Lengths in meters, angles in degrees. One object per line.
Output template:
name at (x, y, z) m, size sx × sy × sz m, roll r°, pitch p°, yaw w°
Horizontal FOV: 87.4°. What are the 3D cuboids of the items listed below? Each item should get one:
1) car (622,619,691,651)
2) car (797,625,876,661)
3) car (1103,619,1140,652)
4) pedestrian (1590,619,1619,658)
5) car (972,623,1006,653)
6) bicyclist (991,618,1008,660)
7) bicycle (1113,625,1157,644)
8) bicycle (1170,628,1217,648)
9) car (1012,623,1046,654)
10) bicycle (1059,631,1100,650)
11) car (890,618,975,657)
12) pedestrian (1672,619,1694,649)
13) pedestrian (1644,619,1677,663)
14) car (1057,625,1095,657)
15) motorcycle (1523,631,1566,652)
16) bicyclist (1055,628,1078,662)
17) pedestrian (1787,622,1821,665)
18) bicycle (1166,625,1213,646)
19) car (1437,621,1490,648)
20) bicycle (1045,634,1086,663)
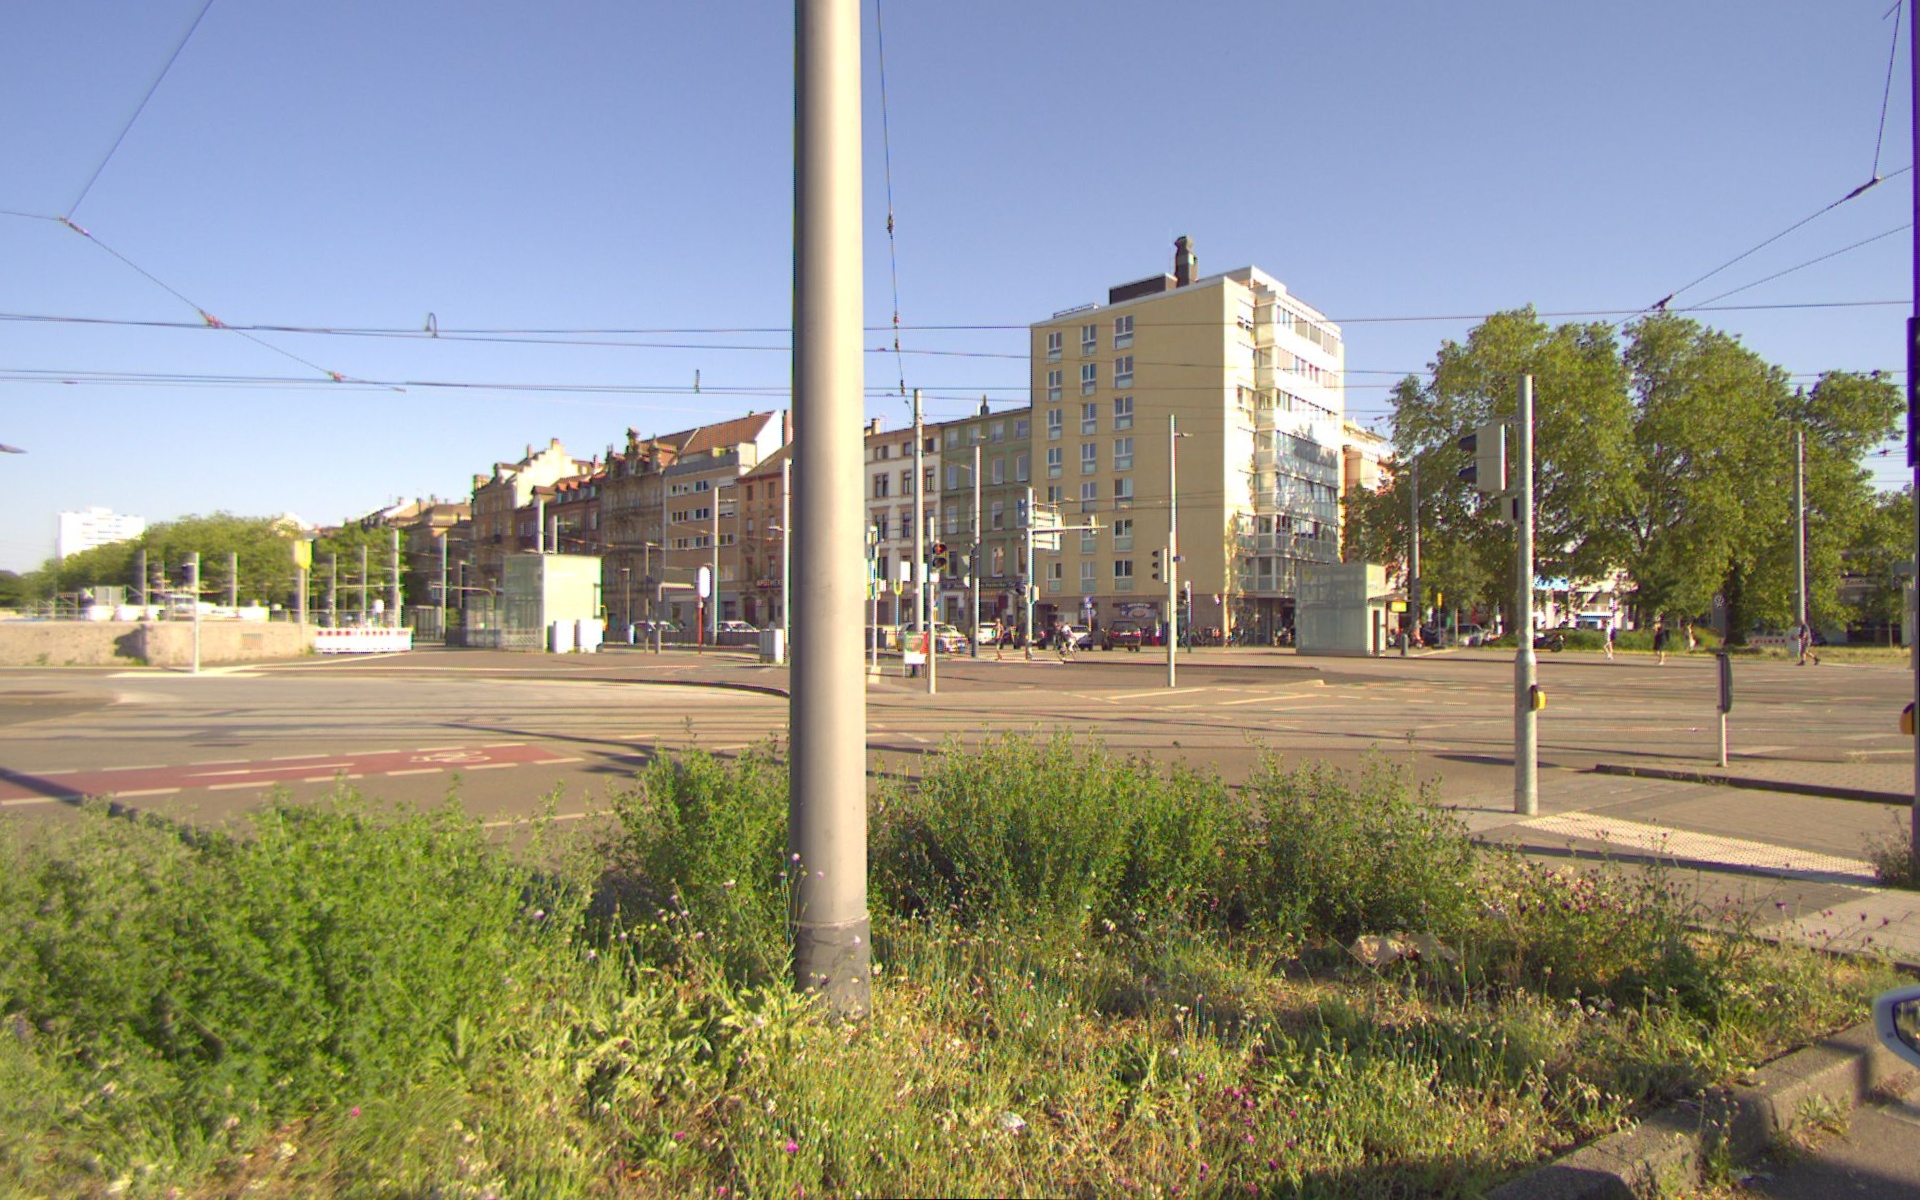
car at (-19.879, 2.285, 65.720) m, size 4.837 × 1.849 × 1.990 m, roll 2°, pitch 0°, yaw 41°
car at (-6.689, 2.259, 54.019) m, size 1.775 × 1.684 × 4.657 m, roll 2°, pitch 0°, yaw -44°
car at (9.177, 1.977, 57.420) m, size 1.684 × 1.728 × 4.001 m, roll 2°, pitch 0°, yaw 4°
pedestrian at (29.099, 1.749, 45.362) m, size 0.747 × 1.728 × 0.793 m, roll 2°, pitch 0°, yaw -22°
car at (1.860, 2.386, 63.917) m, size 1.960 × 1.728 × 4.001 m, roll 2°, pitch 0°, yaw 4°
bicyclist at (1.631, 1.624, 41.905) m, size 0.653 × 1.706 × 0.980 m, roll 2°, pitch 0°, yaw 2°
bicycle at (11.513, 2.258, 66.140) m, size 3.003 × 1.167 × 0.637 m, roll 1°, pitch 0°, yaw 44°
bicycle at (14.821, 2.390, 63.781) m, size 3.003 × 1.167 × 0.637 m, roll 1°, pitch 0°, yaw 44°
car at (4.210, 2.312, 61.476) m, size 1.960 × 1.728 × 4.001 m, roll 2°, pitch 0°, yaw 4°
bicycle at (8.177, 2.751, 69.055) m, size 3.003 × 1.167 × 0.637 m, roll 1°, pitch 0°, yaw 44°
car at (-1.378, 1.816, 49.094) m, size 3.940 × 1.684 × 1.778 m, roll 2°, pitch 0°, yaw 41°
pedestrian at (42.203, 1.985, 58.642) m, size 0.491 × 1.716 × 0.852 m, roll 2°, pitch 0°, yaw -32°
pedestrian at (28.261, 1.649, 40.541) m, size 0.747 × 1.728 × 0.793 m, roll 2°, pitch 0°, yaw -22°
car at (6.805, 2.379, 59.249) m, size 1.960 × 1.728 × 4.001 m, roll 2°, pitch 0°, yaw 4°
motorcycle at (29.144, 2.057, 50.112) m, size 1.753 × 0.926 × 0.676 m, roll 2°, pitch 0°, yaw 41°
bicyclist at (4.307, 1.817, 40.712) m, size 0.617 × 1.368 × 0.658 m, roll 2°, pitch 0°, yaw 44°
pedestrian at (34.606, 1.785, 41.202) m, size 0.747 × 1.728 × 0.793 m, roll 2°, pitch 0°, yaw -22°
bicycle at (14.430, 2.209, 63.228) m, size 3.003 × 1.167 × 0.637 m, roll 1°, pitch 0°, yaw 44°
car at (32.008, 2.203, 63.812) m, size 3.973 × 1.588 × 1.753 m, roll 2°, pitch 0°, yaw -44°
bicycle at (4.292, 1.957, 40.724) m, size 0.617 × 1.104 × 1.914 m, roll 2°, pitch 0°, yaw 44°
